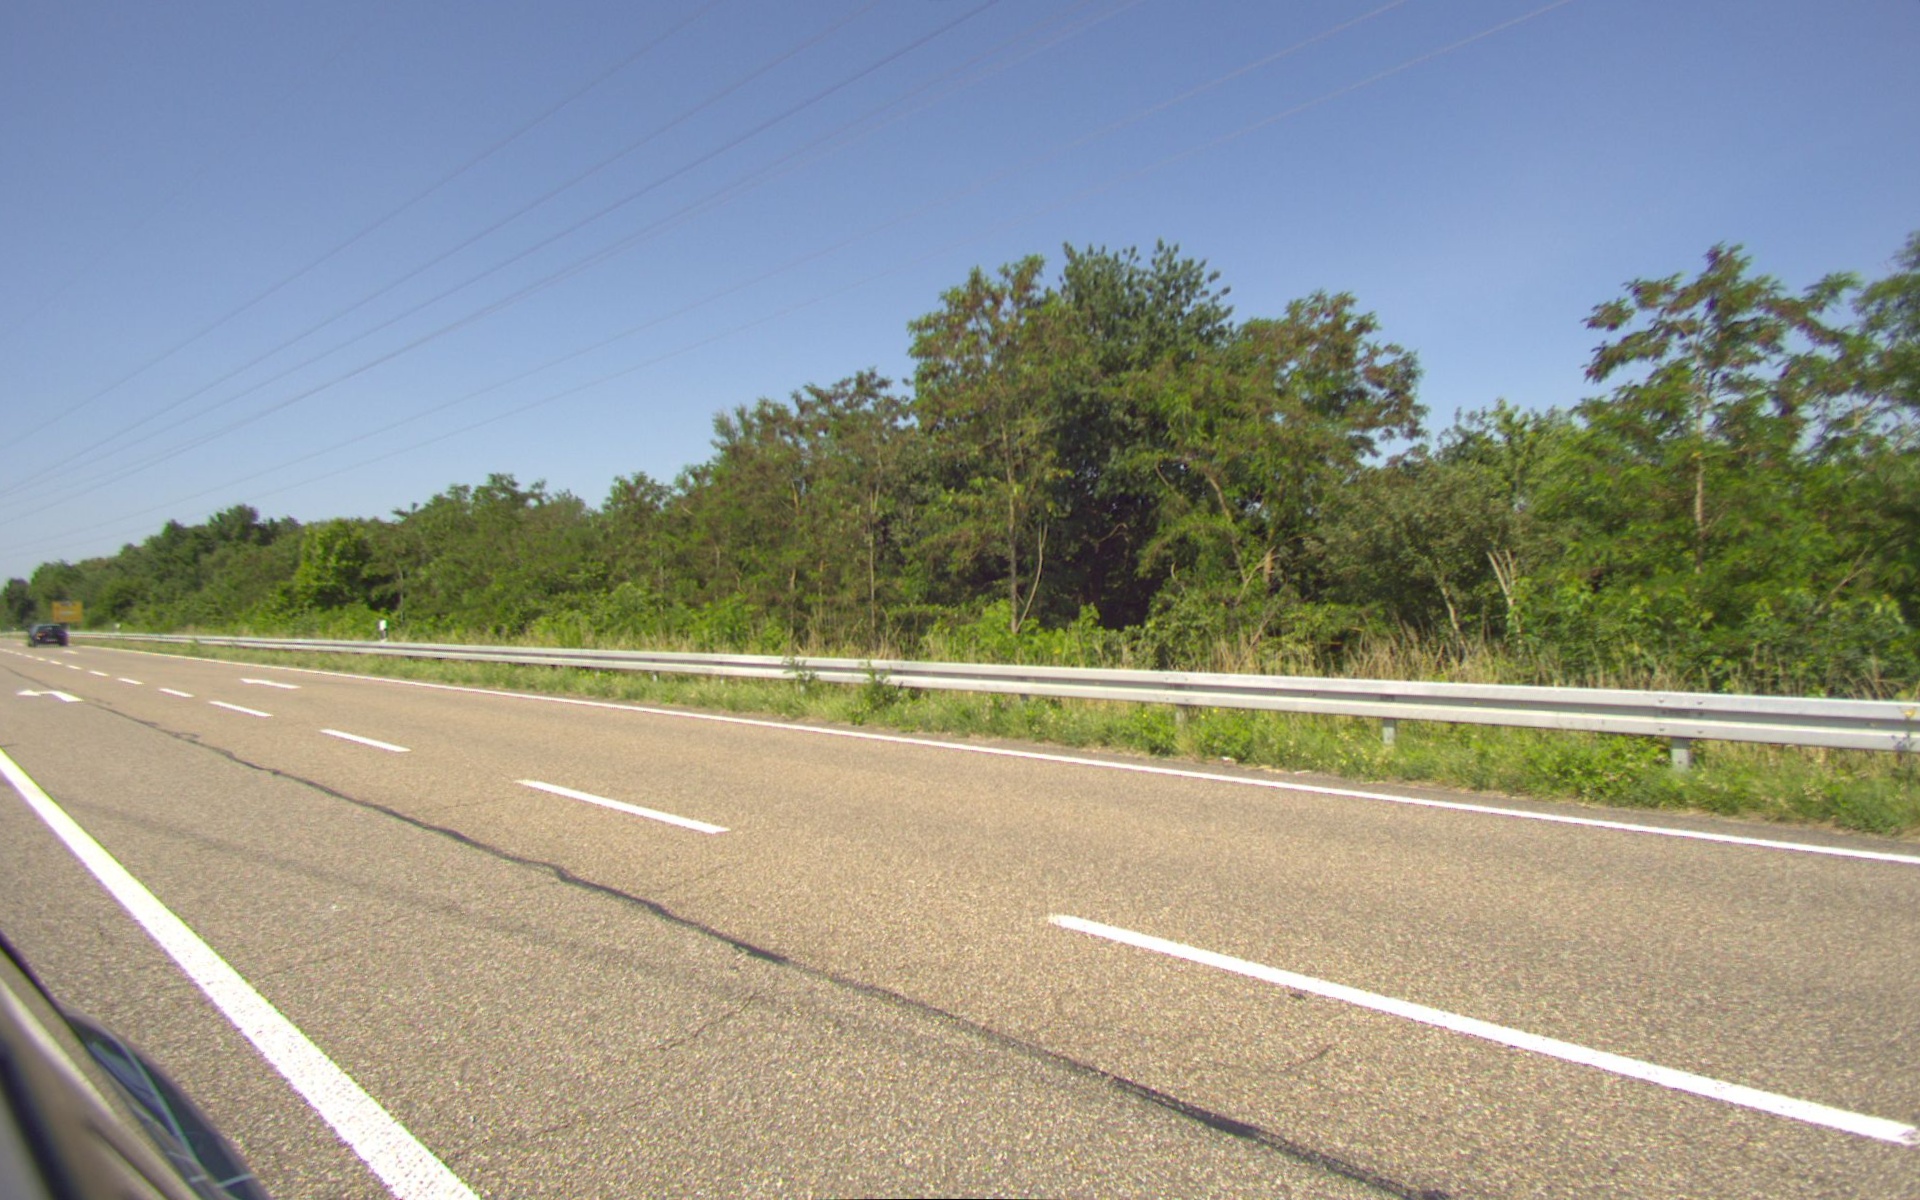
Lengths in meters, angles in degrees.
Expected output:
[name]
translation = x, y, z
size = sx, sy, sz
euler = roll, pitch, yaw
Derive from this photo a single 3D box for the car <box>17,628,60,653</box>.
[car]
translation = -57.623, 2.488, 63.290
size = 4.168, 1.453, 1.642
euler = -2, -1, 43
